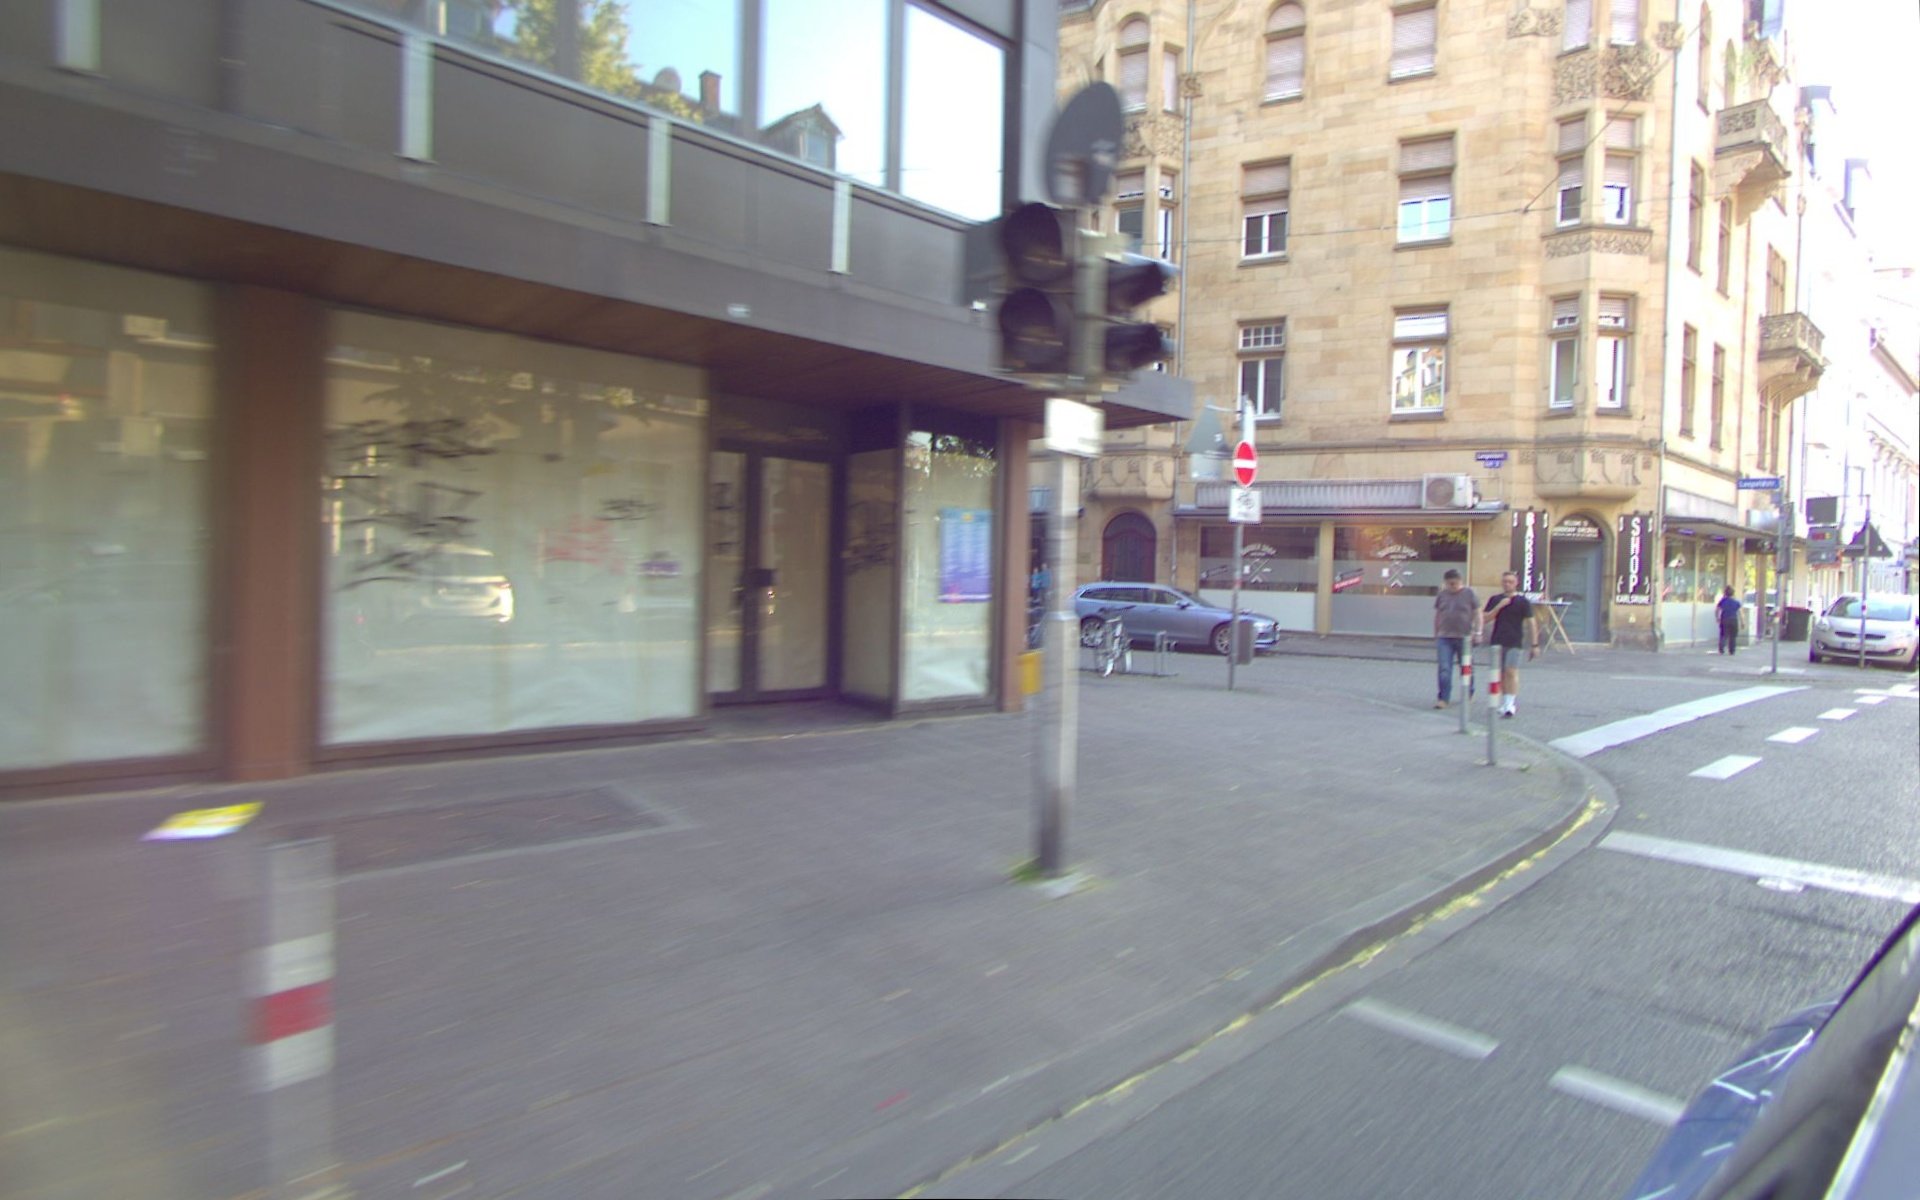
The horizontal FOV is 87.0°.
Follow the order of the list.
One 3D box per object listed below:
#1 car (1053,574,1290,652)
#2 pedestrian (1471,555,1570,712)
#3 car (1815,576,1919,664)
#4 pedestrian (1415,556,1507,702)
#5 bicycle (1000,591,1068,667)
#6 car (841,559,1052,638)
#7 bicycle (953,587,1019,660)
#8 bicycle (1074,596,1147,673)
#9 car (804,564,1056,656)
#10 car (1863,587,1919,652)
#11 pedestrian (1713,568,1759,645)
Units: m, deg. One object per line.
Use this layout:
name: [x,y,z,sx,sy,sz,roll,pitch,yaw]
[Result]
car: [4.585,0.222,22.037,4.721,1.436,1.961,2,1,27]
pedestrian: [6.677,0.370,12.059,0.798,1.780,0.756,0,2,-41]
car: [20.381,0.395,22.254,3.727,1.667,1.759,0,5,-41]
pedestrian: [6.383,0.339,12.905,0.798,1.780,0.756,0,2,-41]
bicycle: [1.157,0.428,15.503,0.576,1.073,1.674,2,0,21]
car: [-0.349,-0.080,24.357,4.721,1.669,1.961,2,1,27]
bicycle: [0.432,0.366,16.067,0.575,1.073,1.676,2,0,18]
bicycle: [2.254,0.491,14.975,0.576,1.046,1.839,2,0,24]
car: [-0.598,0.122,19.252,4.499,1.505,1.779,2,1,27]
car: [24.063,0.490,25.237,3.520,1.476,1.582,0,5,-38]
pedestrian: [17.670,0.139,23.050,0.591,1.682,0.600,0,3,-35]
